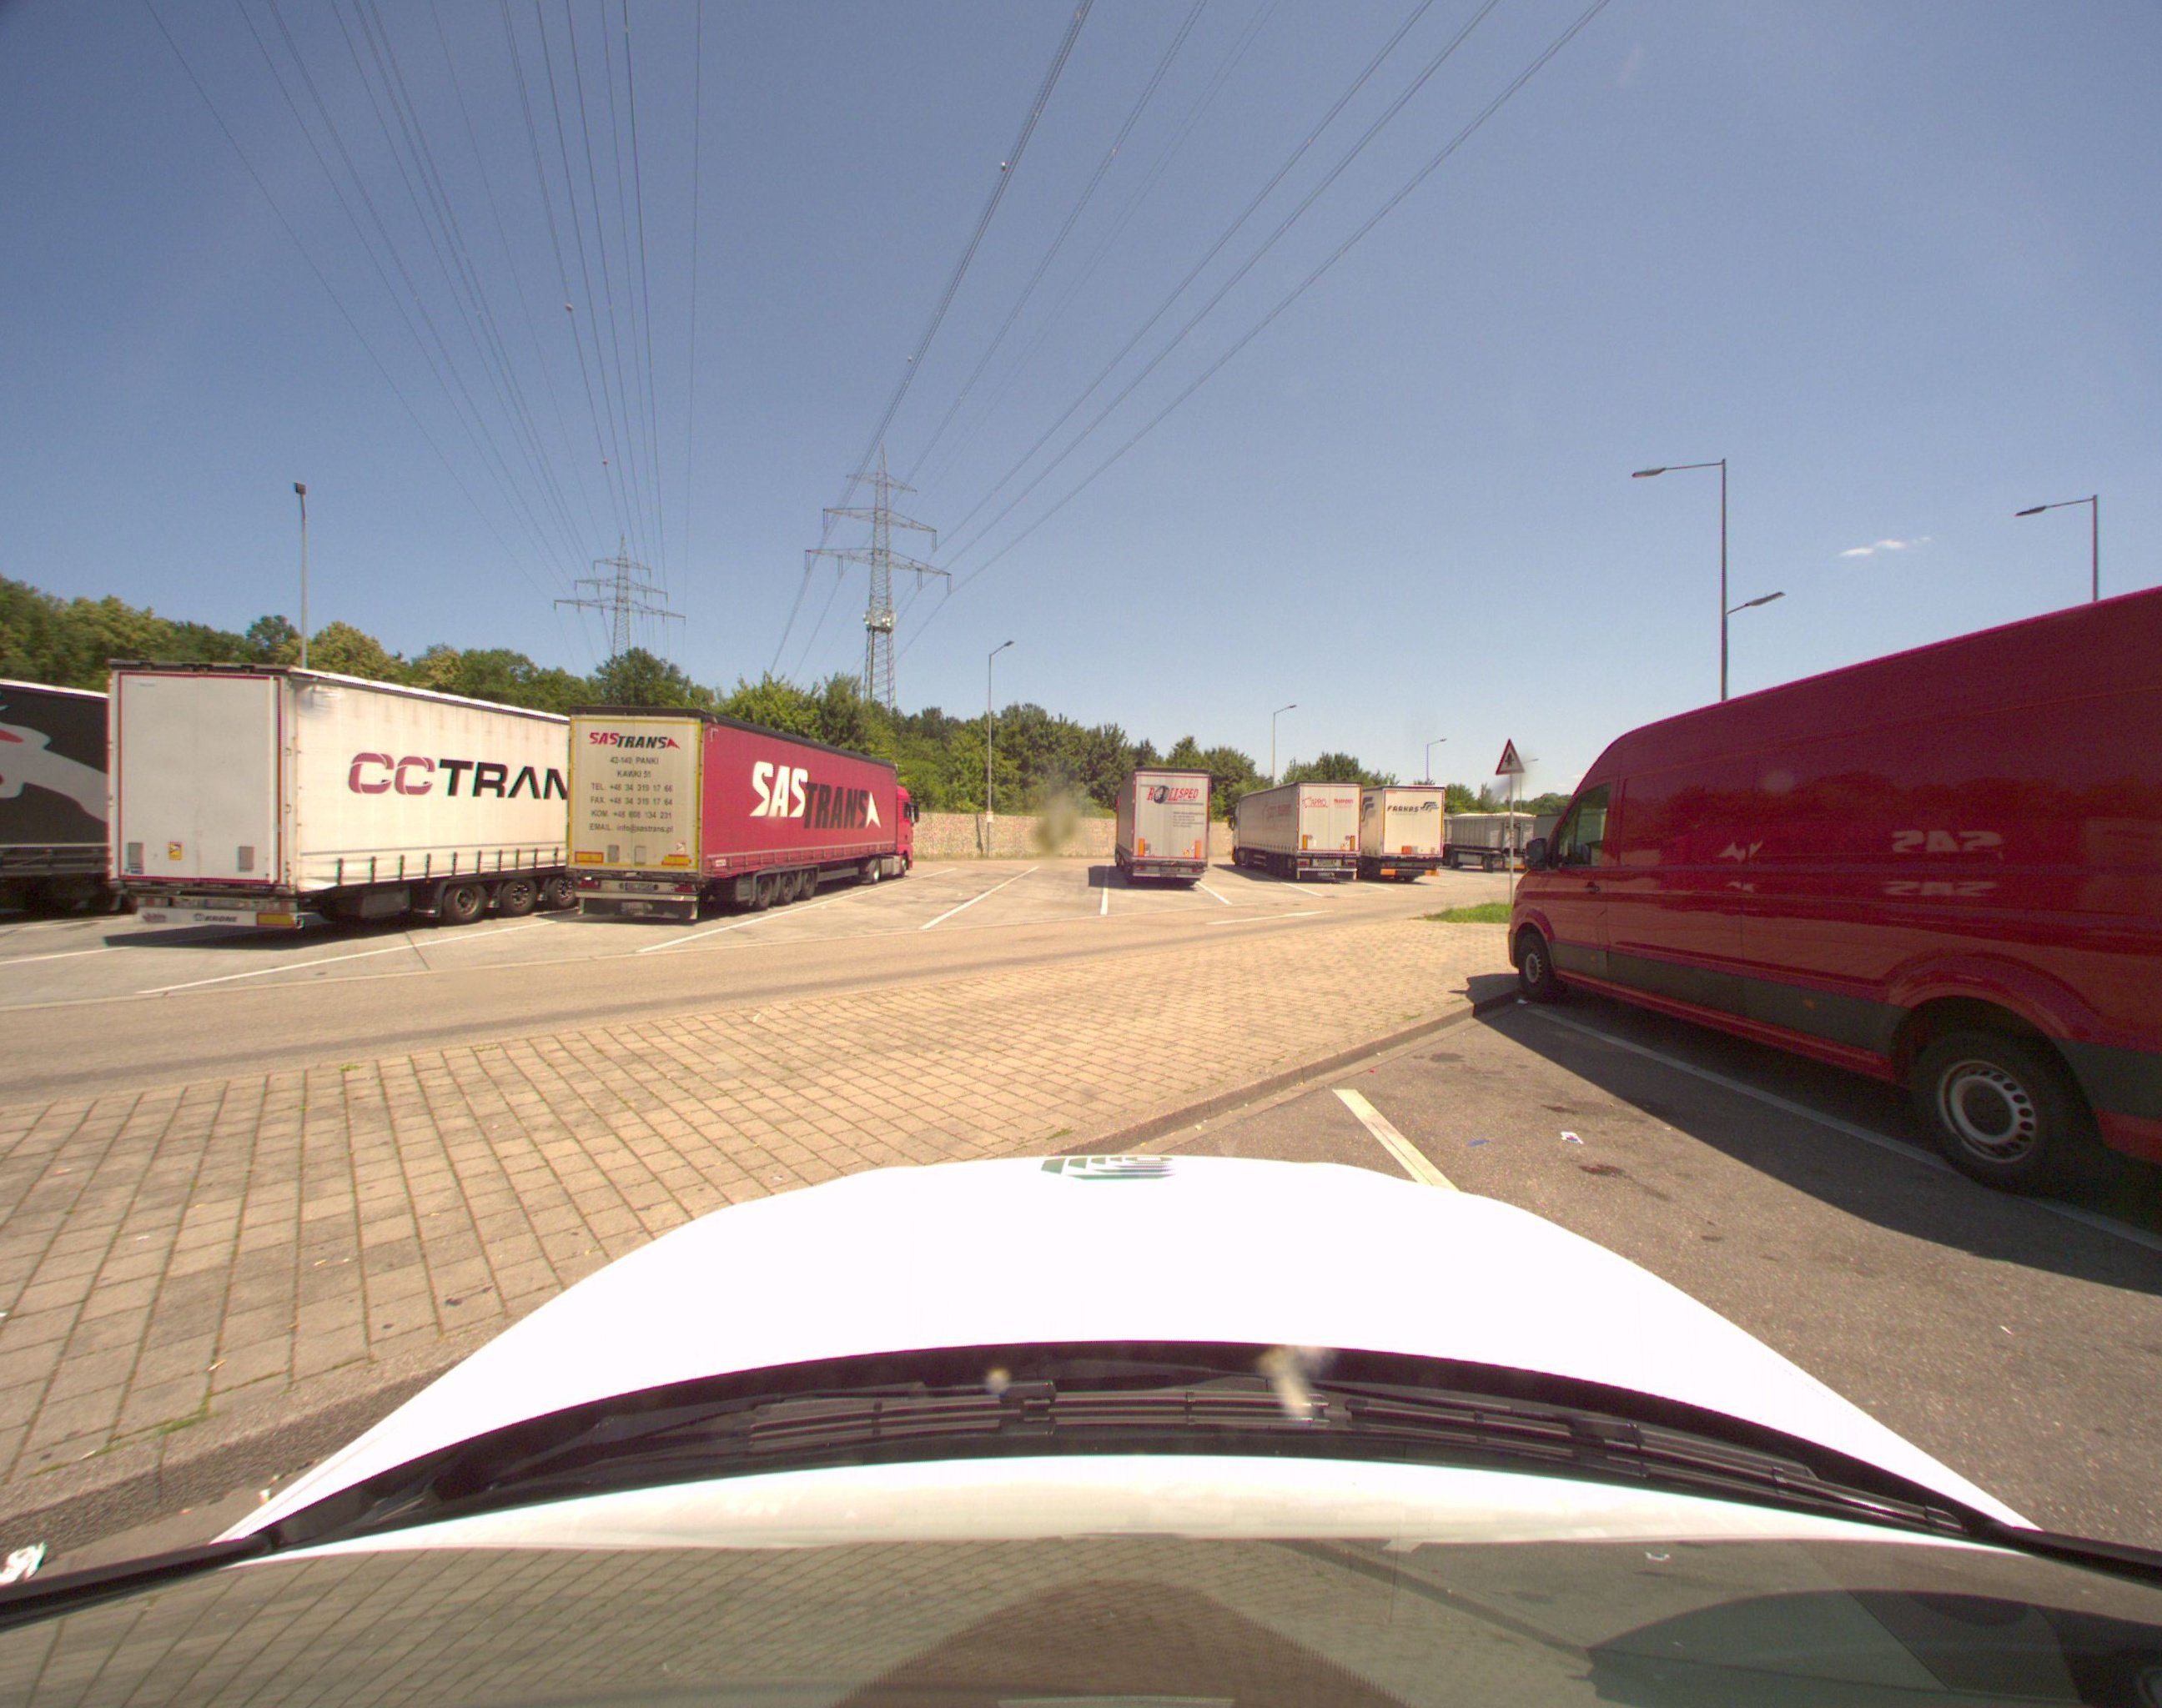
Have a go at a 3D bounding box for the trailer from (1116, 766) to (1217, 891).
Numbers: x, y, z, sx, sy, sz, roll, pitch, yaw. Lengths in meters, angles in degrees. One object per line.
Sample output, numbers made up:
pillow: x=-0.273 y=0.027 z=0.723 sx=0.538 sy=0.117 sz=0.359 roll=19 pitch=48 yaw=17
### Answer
trailer: x=3.053 y=-1.045 z=33.198 sx=2.848 sy=3.971 sz=13.767 roll=1 pitch=2 yaw=1

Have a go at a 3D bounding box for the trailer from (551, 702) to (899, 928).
trailer: x=-8.044 y=-0.924 z=21.717 sx=2.811 sy=4.070 sz=13.770 roll=1 pitch=2 yaw=2

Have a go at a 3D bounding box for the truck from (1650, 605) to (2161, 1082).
truck: x=8.003 y=-0.069 z=6.873 sx=2.406 sy=2.906 sz=6.466 roll=-1 pitch=0 yaw=6

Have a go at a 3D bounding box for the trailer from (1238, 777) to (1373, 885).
trailer: x=9.985 y=-1.116 z=38.288 sx=2.847 sy=4.109 sz=13.770 roll=1 pitch=2 yaw=2

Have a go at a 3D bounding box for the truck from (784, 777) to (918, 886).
truck: x=-7.828 y=-0.791 z=28.533 sx=2.801 sy=3.362 sz=5.977 roll=1 pitch=2 yaw=2

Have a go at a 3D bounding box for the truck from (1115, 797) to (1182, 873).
truck: x=3.144 y=-0.935 z=39.400 sx=2.855 sy=3.362 sz=5.977 roll=1 pitch=2 yaw=2

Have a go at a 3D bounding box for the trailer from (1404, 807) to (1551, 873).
trailer: x=24.447 y=-0.990 z=51.485 sx=2.847 sy=3.599 sz=13.770 roll=1 pitch=2 yaw=2

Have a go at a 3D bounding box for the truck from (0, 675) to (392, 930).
truck: x=-18.547 y=-0.935 z=15.821 sx=2.696 sy=4.070 sz=8.694 roll=1 pitch=2 yaw=2

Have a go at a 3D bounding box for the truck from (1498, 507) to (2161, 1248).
truck: x=5.143 y=0.082 z=5.441 sx=2.001 sy=2.651 sz=6.466 roll=-1 pitch=0 yaw=6

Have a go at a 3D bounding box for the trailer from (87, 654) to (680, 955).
trailer: x=-12.159 y=-0.838 z=16.413 sx=2.696 sy=4.101 sz=10.395 roll=1 pitch=2 yaw=2

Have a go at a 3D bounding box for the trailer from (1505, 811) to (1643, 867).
trailer: x=38.229 y=-1.292 z=64.165 sx=2.847 sy=3.904 sz=13.770 roll=1 pitch=2 yaw=2

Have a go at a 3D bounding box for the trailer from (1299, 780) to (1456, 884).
trailer: x=13.614 y=-1.091 z=39.211 sx=2.847 sy=4.109 sz=13.770 roll=1 pitch=2 yaw=2

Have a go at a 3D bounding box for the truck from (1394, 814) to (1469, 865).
truck: x=24.634 y=-1.078 z=57.582 sx=2.855 sy=3.362 sz=5.977 roll=1 pitch=2 yaw=2

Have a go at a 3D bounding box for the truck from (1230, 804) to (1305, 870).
truck: x=10.184 y=-0.974 z=45.052 sx=2.855 sy=3.362 sz=5.977 roll=1 pitch=2 yaw=2
